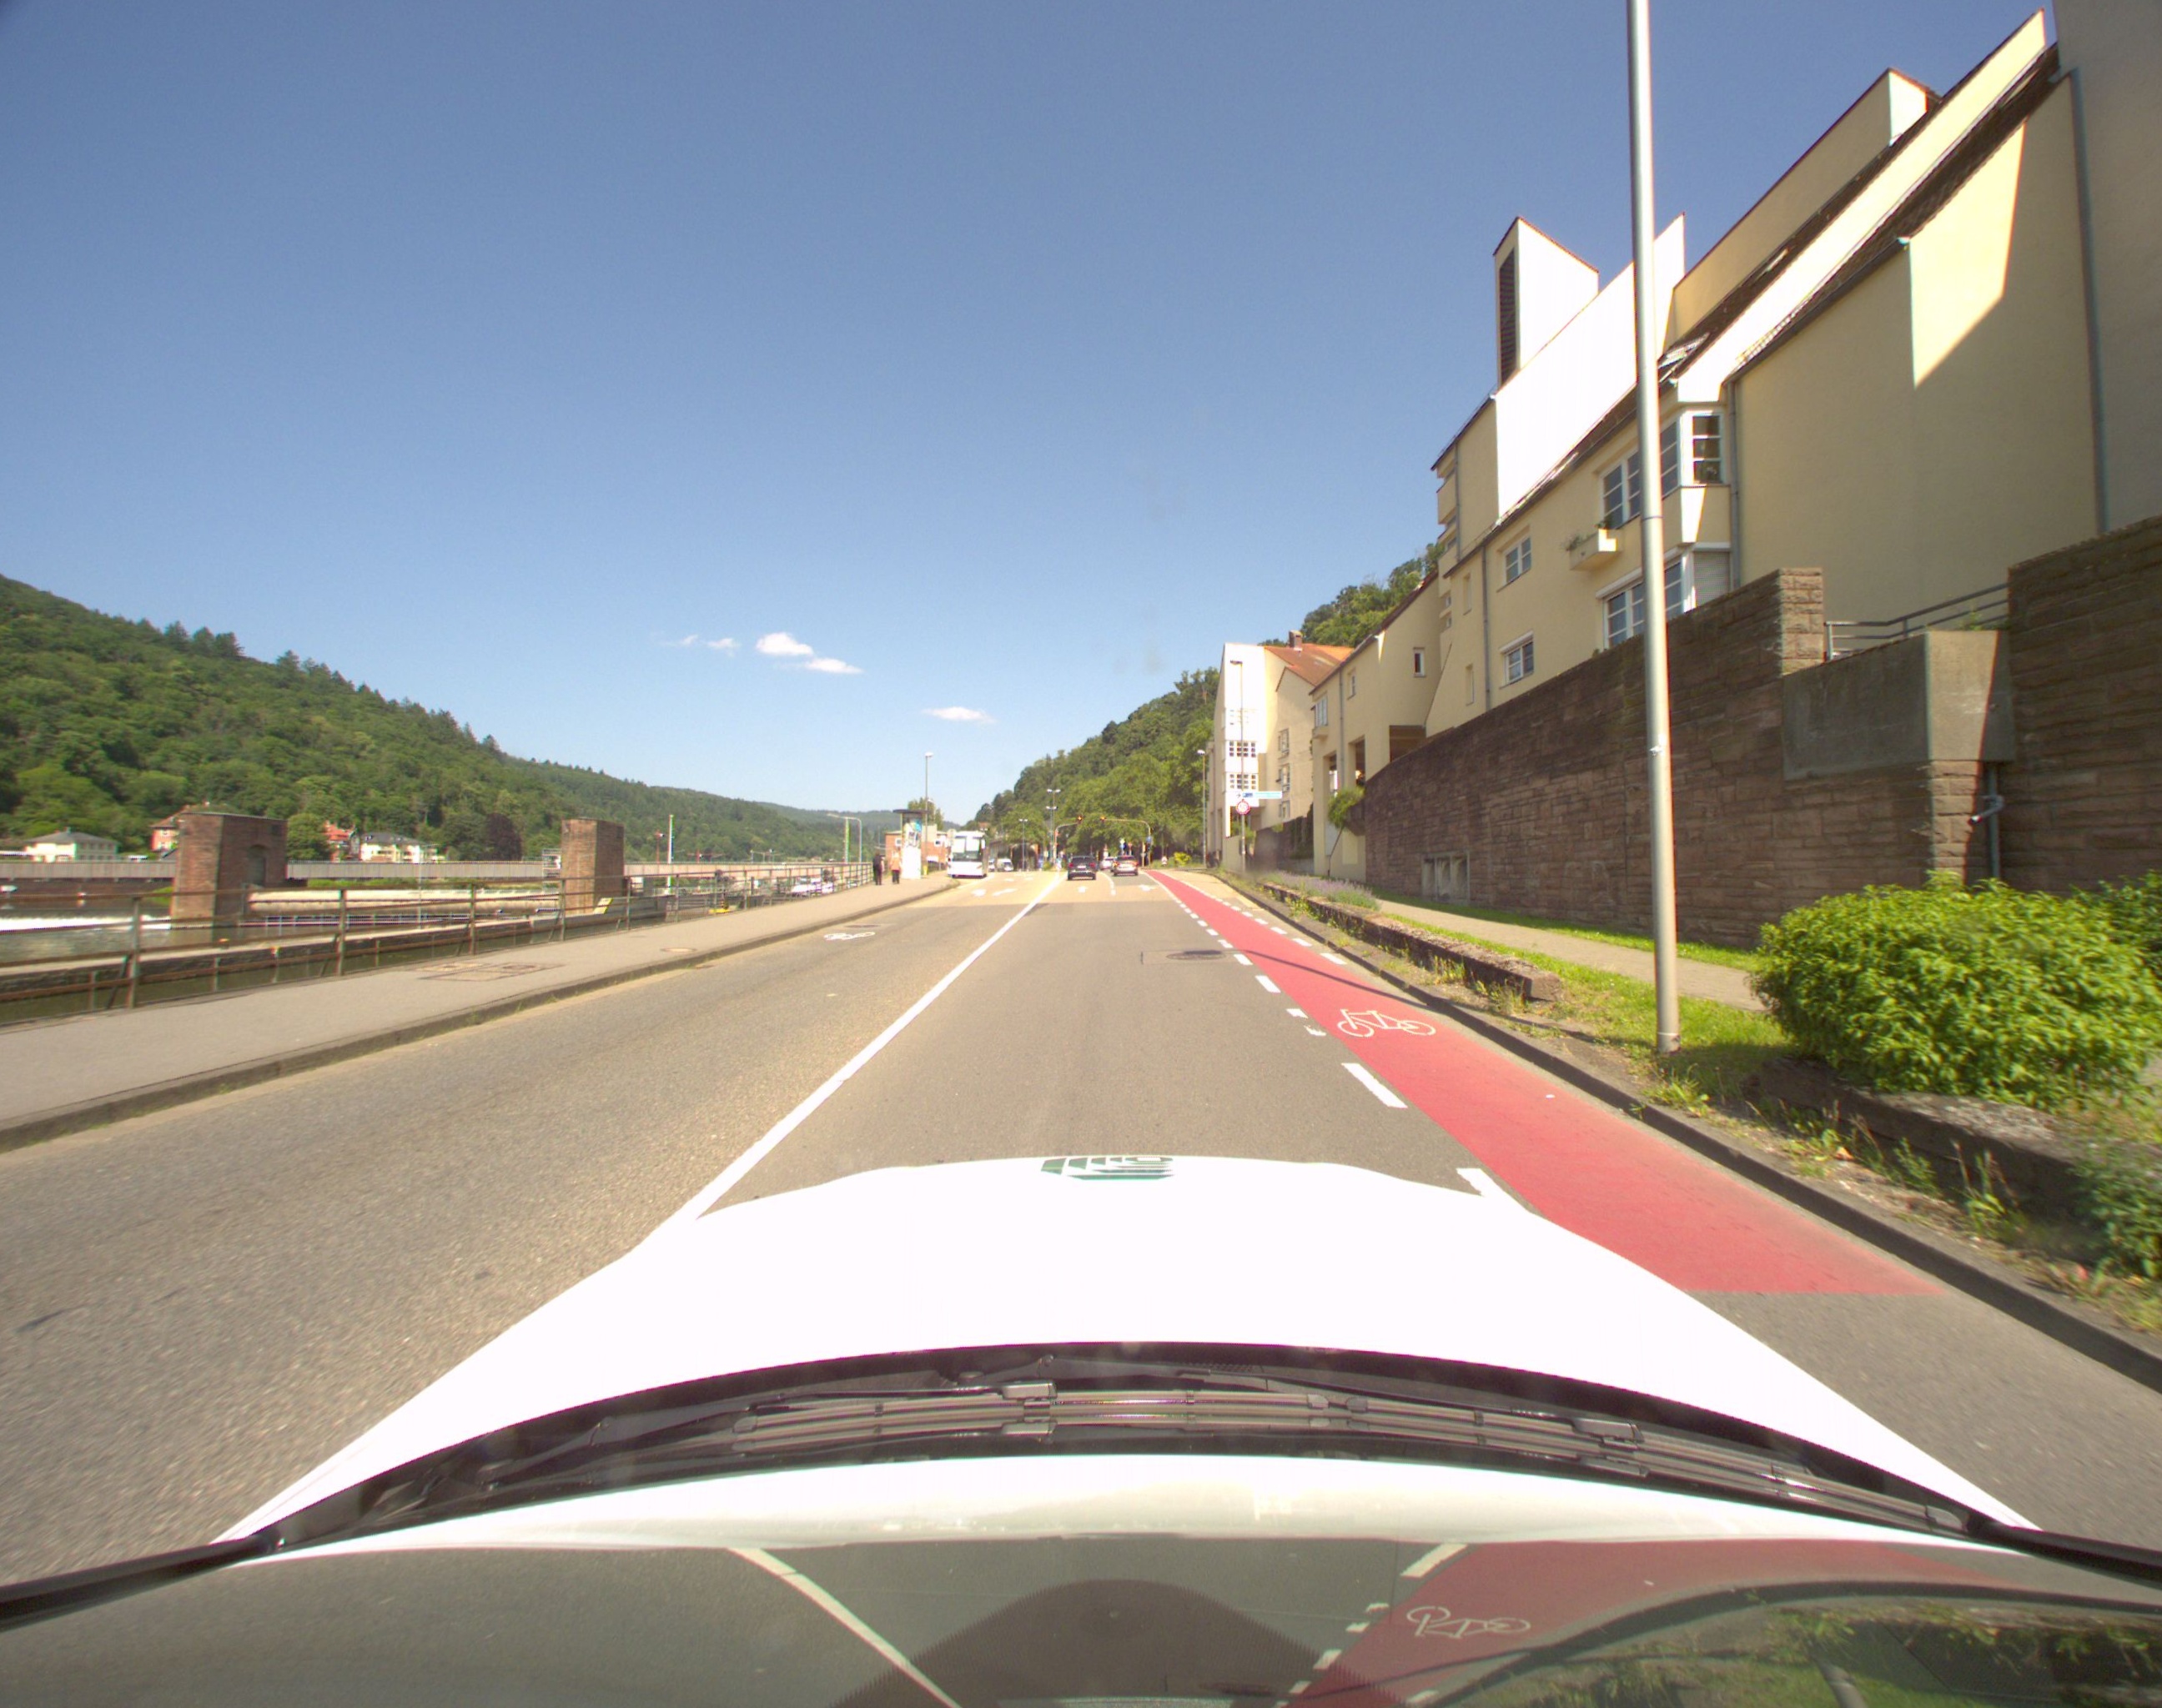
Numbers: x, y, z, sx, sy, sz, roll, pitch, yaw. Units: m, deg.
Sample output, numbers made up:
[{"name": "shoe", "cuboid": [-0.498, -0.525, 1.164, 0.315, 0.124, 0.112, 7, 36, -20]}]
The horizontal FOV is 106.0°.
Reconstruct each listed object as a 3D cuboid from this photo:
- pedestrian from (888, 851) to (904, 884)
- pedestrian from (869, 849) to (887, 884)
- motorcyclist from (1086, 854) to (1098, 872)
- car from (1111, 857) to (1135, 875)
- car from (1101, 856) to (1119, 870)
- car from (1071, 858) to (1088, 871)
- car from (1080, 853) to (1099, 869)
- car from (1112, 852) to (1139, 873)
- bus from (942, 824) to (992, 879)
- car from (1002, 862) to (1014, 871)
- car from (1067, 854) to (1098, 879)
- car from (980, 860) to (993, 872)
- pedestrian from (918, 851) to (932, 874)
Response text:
[{"name": "pedestrian", "cuboid": [-9.388, 0.679, 41.376, 0.702, 1.621, 0.814, 0, -1, -8]}, {"name": "pedestrian", "cuboid": [-9.957, 0.616, 39.906, 0.681, 1.709, 0.773, 0, -1, -1]}, {"name": "motorcyclist", "cuboid": [1.003, 0.814, 77.114, 1.072, 1.684, 1.156, -1, 0, 0]}, {"name": "car", "cuboid": [3.778, 1.103, 73.502, 1.986, 1.534, 4.859, 0, -1, 1]}, {"name": "car", "cuboid": [3.235, 1.032, 91.161, 1.780, 1.532, 4.735, -2, -1, 0]}, {"name": "car", "cuboid": [-0.205, 1.197, 91.229, 1.861, 1.359, 3.997, -1, 0, -2]}, {"name": "car", "cuboid": [0.856, 0.737, 83.598, 1.861, 1.562, 3.997, -1, 0, -2]}, {"name": "car", "cuboid": [3.307, 0.655, 61.144, 1.882, 1.521, 4.306, 0, -1, 1]}, {"name": "bus", "cuboid": [-9.036, -0.154, 66.020, 2.951, 3.801, 13.224, 3, -1, -4]}, {"name": "car", "cuboid": [-13.077, 2.278, 145.994, 1.989, 1.432, 4.163, -1, 0, -2]}, {"name": "car", "cuboid": [0.143, 0.774, 51.933, 1.862, 1.514, 4.151, 0, -1, 1]}, {"name": "car", "cuboid": [-17.282, 2.127, 149.586, 2.211, 2.078, 5.033, -1, 0, -6]}, {"name": "pedestrian", "cuboid": [-11.837, 0.647, 61.888, 0.891, 1.796, 1.039, 0, -1, -5]}]
